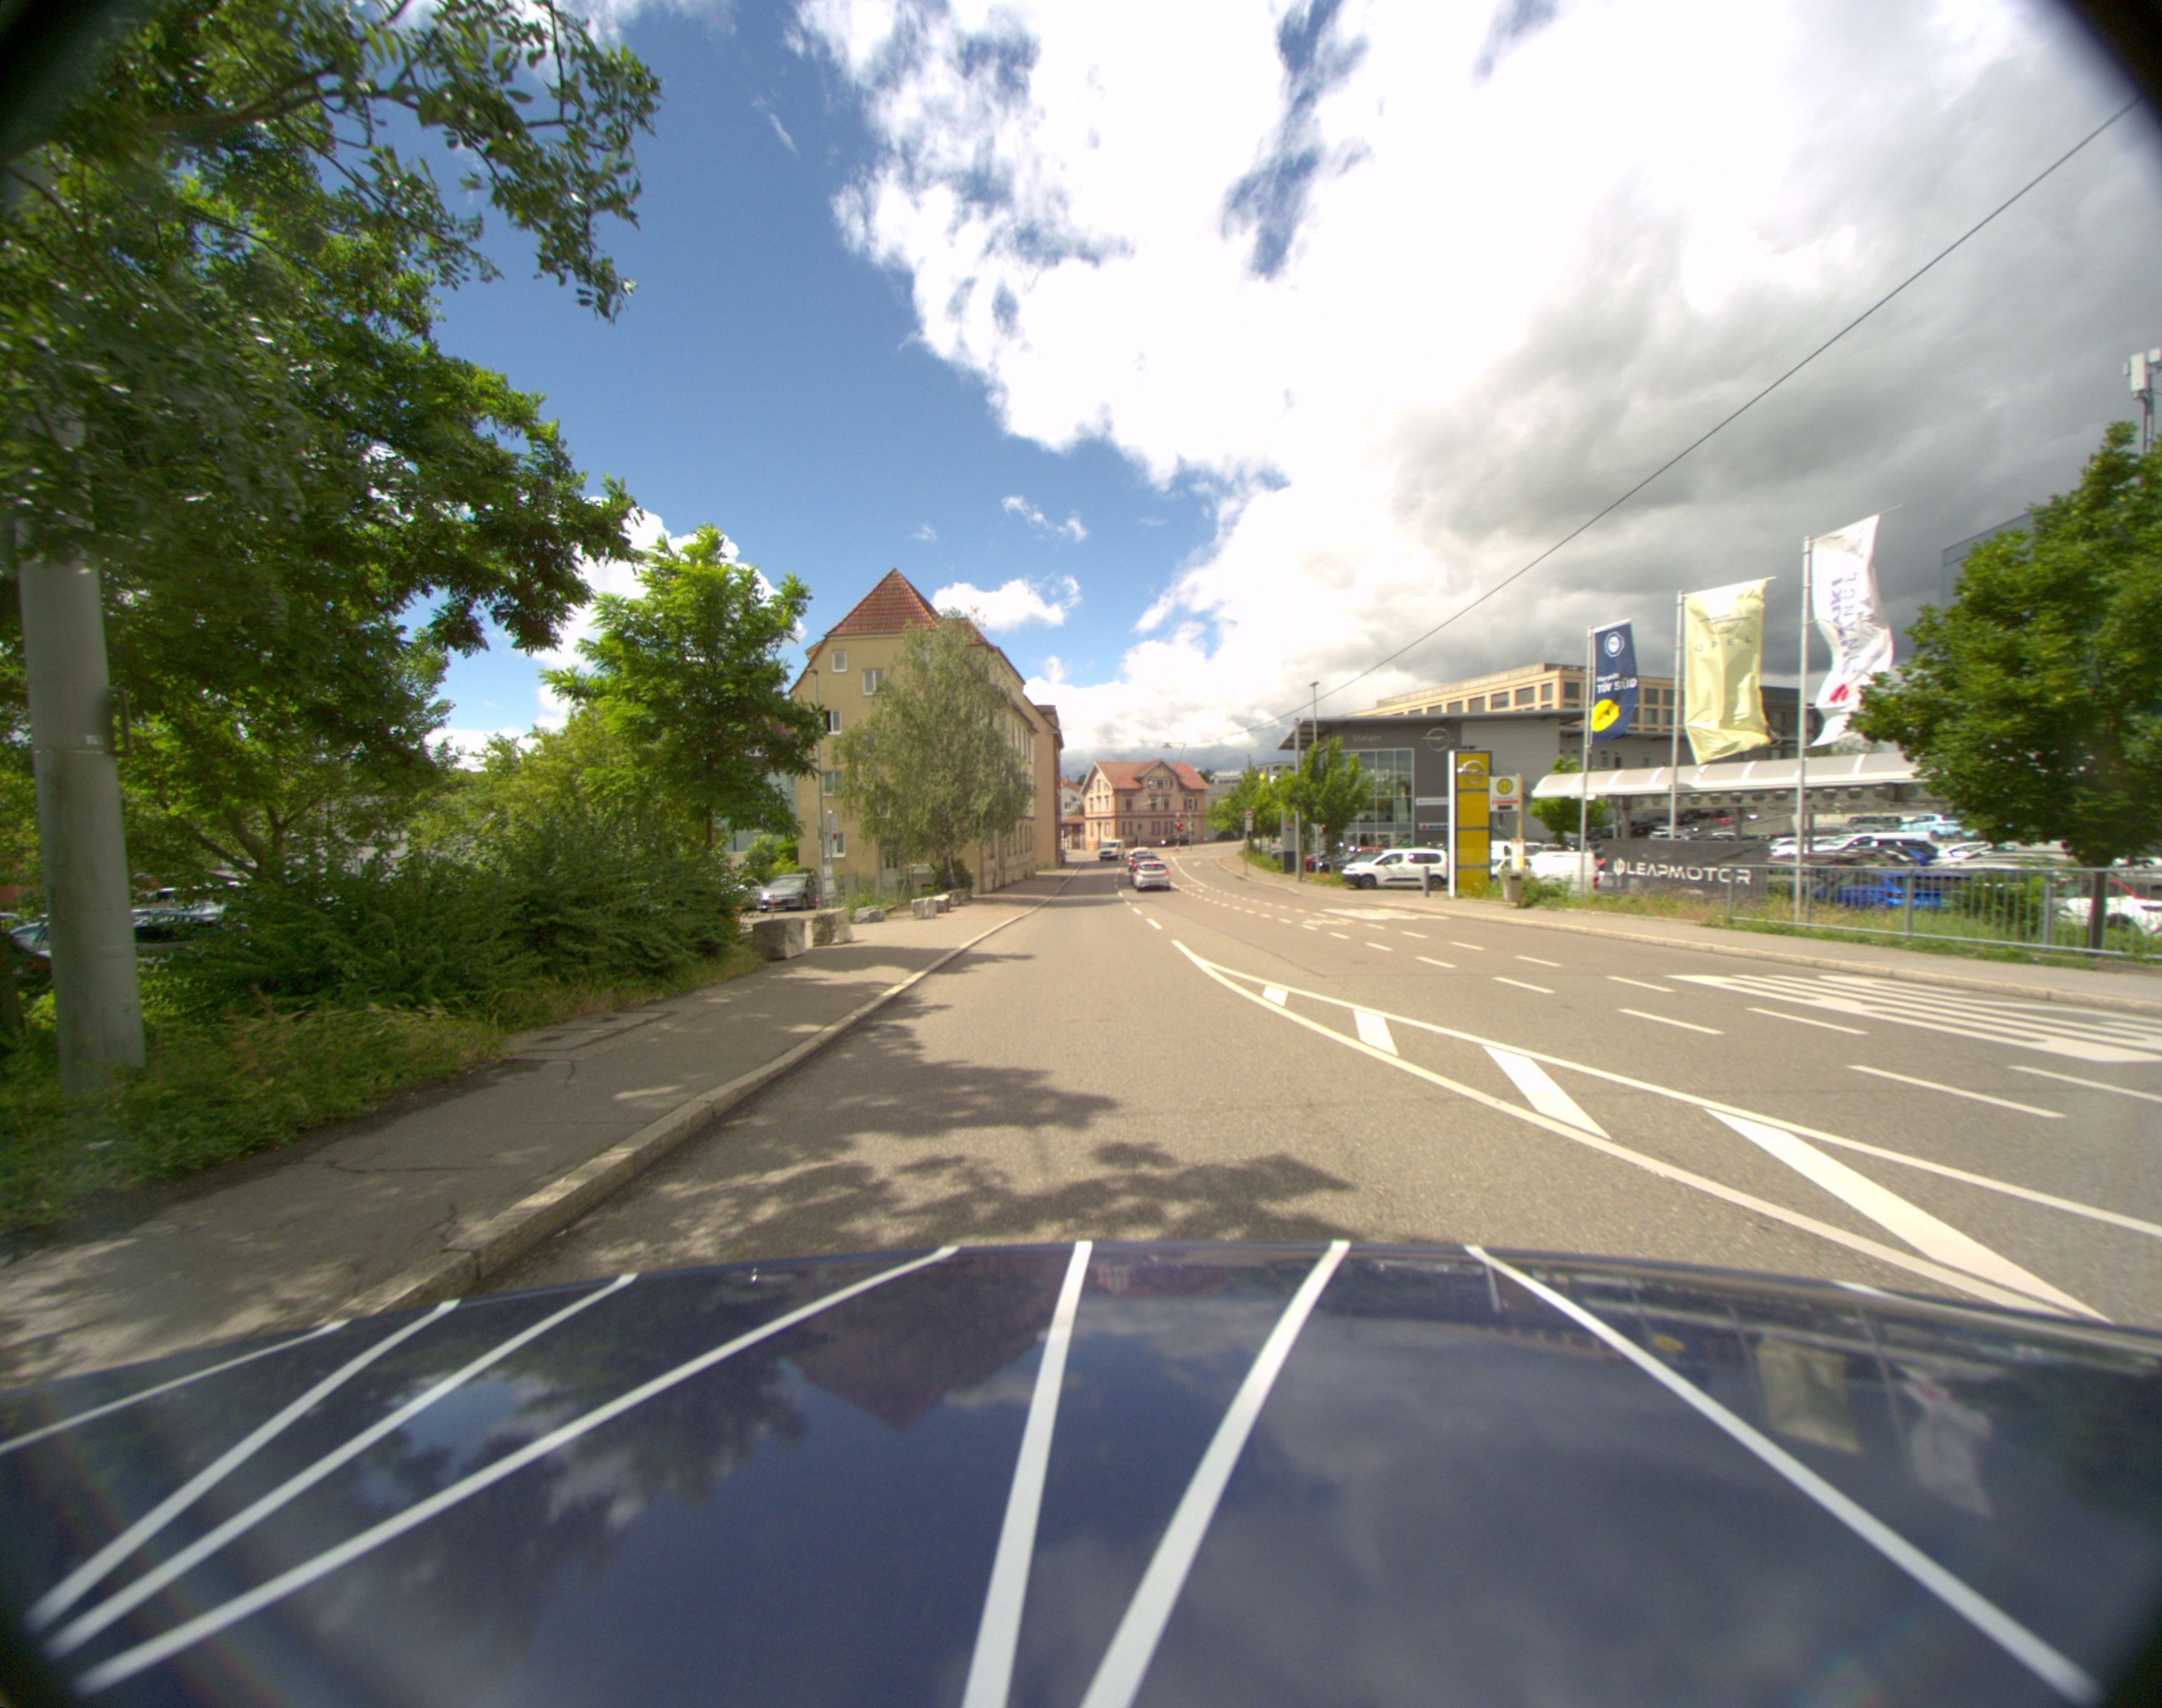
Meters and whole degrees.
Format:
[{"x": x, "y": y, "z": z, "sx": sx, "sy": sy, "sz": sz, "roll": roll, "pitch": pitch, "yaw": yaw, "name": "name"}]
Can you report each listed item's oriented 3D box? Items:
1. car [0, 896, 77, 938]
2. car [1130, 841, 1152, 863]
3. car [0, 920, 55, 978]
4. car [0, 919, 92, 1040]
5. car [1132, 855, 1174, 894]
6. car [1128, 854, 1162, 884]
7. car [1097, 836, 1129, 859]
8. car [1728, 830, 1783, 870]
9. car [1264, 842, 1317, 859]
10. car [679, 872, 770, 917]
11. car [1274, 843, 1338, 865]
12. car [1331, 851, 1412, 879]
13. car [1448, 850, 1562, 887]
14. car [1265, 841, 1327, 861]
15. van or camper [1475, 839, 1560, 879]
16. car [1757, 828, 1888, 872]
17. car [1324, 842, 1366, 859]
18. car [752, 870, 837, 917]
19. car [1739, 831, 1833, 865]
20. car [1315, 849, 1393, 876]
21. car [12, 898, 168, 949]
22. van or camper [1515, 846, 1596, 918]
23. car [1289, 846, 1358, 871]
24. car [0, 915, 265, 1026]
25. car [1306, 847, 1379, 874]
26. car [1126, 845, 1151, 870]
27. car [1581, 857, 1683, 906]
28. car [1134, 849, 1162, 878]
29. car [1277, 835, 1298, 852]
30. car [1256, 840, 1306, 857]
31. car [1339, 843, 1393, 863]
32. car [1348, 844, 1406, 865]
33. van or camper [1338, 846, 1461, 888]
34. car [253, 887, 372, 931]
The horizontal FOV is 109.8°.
[{"x": -49.671, "y": 2.983, "z": 34.823, "sx": 1.872, "sy": 1.660, "sz": 4.345, "roll": -3, "pitch": 2, "yaw": -10, "name": "car"}, {"x": 5.207, "y": -0.200, "z": 65.620, "sx": 1.722, "sy": 1.573, "sz": 3.999, "roll": -3, "pitch": 3, "yaw": 5, "name": "car"}, {"x": -34.278, "y": 3.074, "z": 22.623, "sx": 1.872, "sy": 1.660, "sz": 4.345, "roll": -3, "pitch": 2, "yaw": -10, "name": "car"}, {"x": -18.148, "y": 2.009, "z": 11.038, "sx": 4.351, "sy": 1.660, "sz": 1.869, "roll": -3, "pitch": 2, "yaw": -11, "name": "car"}, {"x": 3.645, "y": 1.005, "z": 39.042, "sx": 1.723, "sy": 1.573, "sz": 3.998, "roll": -3, "pitch": 3, "yaw": 1, "name": "car"}, {"x": 3.759, "y": 0.855, "z": 44.964, "sx": 1.723, "sy": 1.476, "sz": 3.321, "roll": -3, "pitch": 3, "yaw": 1, "name": "car"}, {"x": 3.352, "y": -0.685, "z": 78.091, "sx": 1.996, "sy": 1.982, "sz": 4.993, "roll": -3, "pitch": 3, "yaw": 17, "name": "car"}, {"x": 39.142, "y": -0.273, "z": 44.073, "sx": 4.006, "sy": 1.937, "sz": 1.994, "roll": -7, "pitch": 4, "yaw": -43, "name": "car"}, {"x": 17.569, "y": -0.316, "z": 63.921, "sx": 4.075, "sy": 1.386, "sz": 1.813, "roll": -1, "pitch": 1, "yaw": 6, "name": "car"}, {"x": -14.445, "y": 1.598, "z": 31.079, "sx": 1.875, "sy": 1.443, "sz": 4.279, "roll": -2, "pitch": 1, "yaw": -4, "name": "car"}, {"x": 15.894, "y": -0.021, "z": 53.811, "sx": 3.991, "sy": 1.489, "sz": 1.812, "roll": -1, "pitch": 1, "yaw": 2, "name": "car"}, {"x": 15.669, "y": 0.570, "z": 41.103, "sx": 3.708, "sy": 1.401, "sz": 1.794, "roll": -1, "pitch": 1, "yaw": -4, "name": "car"}, {"x": 19.340, "y": 0.629, "z": 34.661, "sx": 4.526, "sy": 1.428, "sz": 2.009, "roll": -2, "pitch": 2, "yaw": -18, "name": "car"}, {"x": 16.631, "y": -0.227, "z": 58.836, "sx": 4.289, "sy": 1.489, "sz": 1.812, "roll": -1, "pitch": 1, "yaw": 2, "name": "car"}, {"x": 23.283, "y": 0.205, "z": 40.756, "sx": 1.998, "sy": 2.002, "sz": 4.685, "roll": -1, "pitch": 1, "yaw": 2, "name": "van or camper"}, {"x": 41.246, "y": -0.225, "z": 42.417, "sx": 4.826, "sy": 2.003, "sz": 2.001, "roll": -4, "pitch": 3, "yaw": 19, "name": "car"}, {"x": 21.969, "y": -0.318, "z": 63.367, "sx": 3.017, "sy": 1.365, "sz": 1.518, "roll": -1, "pitch": 1, "yaw": 3, "name": "car"}, {"x": -11.610, "y": 1.543, "z": 31.073, "sx": 1.720, "sy": 1.383, "sz": 4.141, "roll": -4, "pitch": 3, "yaw": 1, "name": "car"}, {"x": 45.373, "y": -0.388, "z": 48.995, "sx": 3.994, "sy": 1.801, "sz": 2.000, "roll": -4, "pitch": 3, "yaw": 9, "name": "car"}, {"x": 15.525, "y": 0.485, "z": 43.358, "sx": 3.843, "sy": 1.453, "sz": 1.772, "roll": -1, "pitch": 1, "yaw": 0, "name": "car"}, {"x": -36.609, "y": 2.528, "z": 28.231, "sx": 1.874, "sy": 1.379, "sz": 3.710, "roll": -3, "pitch": 2, "yaw": -23, "name": "car"}, {"x": 15.413, "y": 0.807, "z": 24.548, "sx": 1.985, "sy": 1.952, "sz": 4.968, "roll": -1, "pitch": 1, "yaw": 34, "name": "van or camper"}, {"x": 15.442, "y": 0.281, "z": 48.500, "sx": 3.858, "sy": 1.489, "sz": 1.812, "roll": -1, "pitch": 1, "yaw": 1, "name": "car"}, {"x": -17.465, "y": 2.064, "z": 13.605, "sx": 3.995, "sy": 1.478, "sz": 1.776, "roll": -4, "pitch": 3, "yaw": 7, "name": "car"}, {"x": 15.776, "y": 0.369, "z": 45.970, "sx": 3.823, "sy": 1.489, "sz": 1.812, "roll": -1, "pitch": 1, "yaw": -1, "name": "car"}, {"x": 4.413, "y": 0.261, "z": 58.062, "sx": 1.722, "sy": 1.573, "sz": 4.318, "roll": -4, "pitch": 3, "yaw": 5, "name": "car"}, {"x": 19.817, "y": 0.929, "z": 27.271, "sx": 4.007, "sy": 1.458, "sz": 1.813, "roll": -3, "pitch": 3, "yaw": -36, "name": "car"}, {"x": 4.541, "y": 0.608, "z": 51.620, "sx": 1.722, "sy": 1.573, "sz": 4.250, "roll": -3, "pitch": 3, "yaw": 5, "name": "car"}, {"x": 21.843, "y": -1.127, "z": 80.511, "sx": 1.946, "sy": 1.466, "sz": 4.308, "roll": -3, "pitch": 3, "yaw": 13, "name": "car"}, {"x": 17.484, "y": -0.491, "z": 66.527, "sx": 3.995, "sy": 1.489, "sz": 1.813, "roll": -1, "pitch": 1, "yaw": 6, "name": "car"}, {"x": 20.318, "y": -0.070, "z": 54.314, "sx": 3.323, "sy": 1.365, "sz": 1.517, "roll": -1, "pitch": 1, "yaw": 2, "name": "car"}, {"x": 19.913, "y": 0.006, "z": 51.169, "sx": 3.323, "sy": 1.365, "sz": 1.517, "roll": -1, "pitch": 1, "yaw": 2, "name": "car"}, {"x": 14.062, "y": 0.568, "z": 33.824, "sx": 4.677, "sy": 1.740, "sz": 2.000, "roll": -1, "pitch": 1, "yaw": 6, "name": "van or camper"}, {"x": -37.732, "y": 2.632, "z": 37.494, "sx": 1.872, "sy": 1.660, "sz": 4.345, "roll": -3, "pitch": 2, "yaw": -10, "name": "car"}]
